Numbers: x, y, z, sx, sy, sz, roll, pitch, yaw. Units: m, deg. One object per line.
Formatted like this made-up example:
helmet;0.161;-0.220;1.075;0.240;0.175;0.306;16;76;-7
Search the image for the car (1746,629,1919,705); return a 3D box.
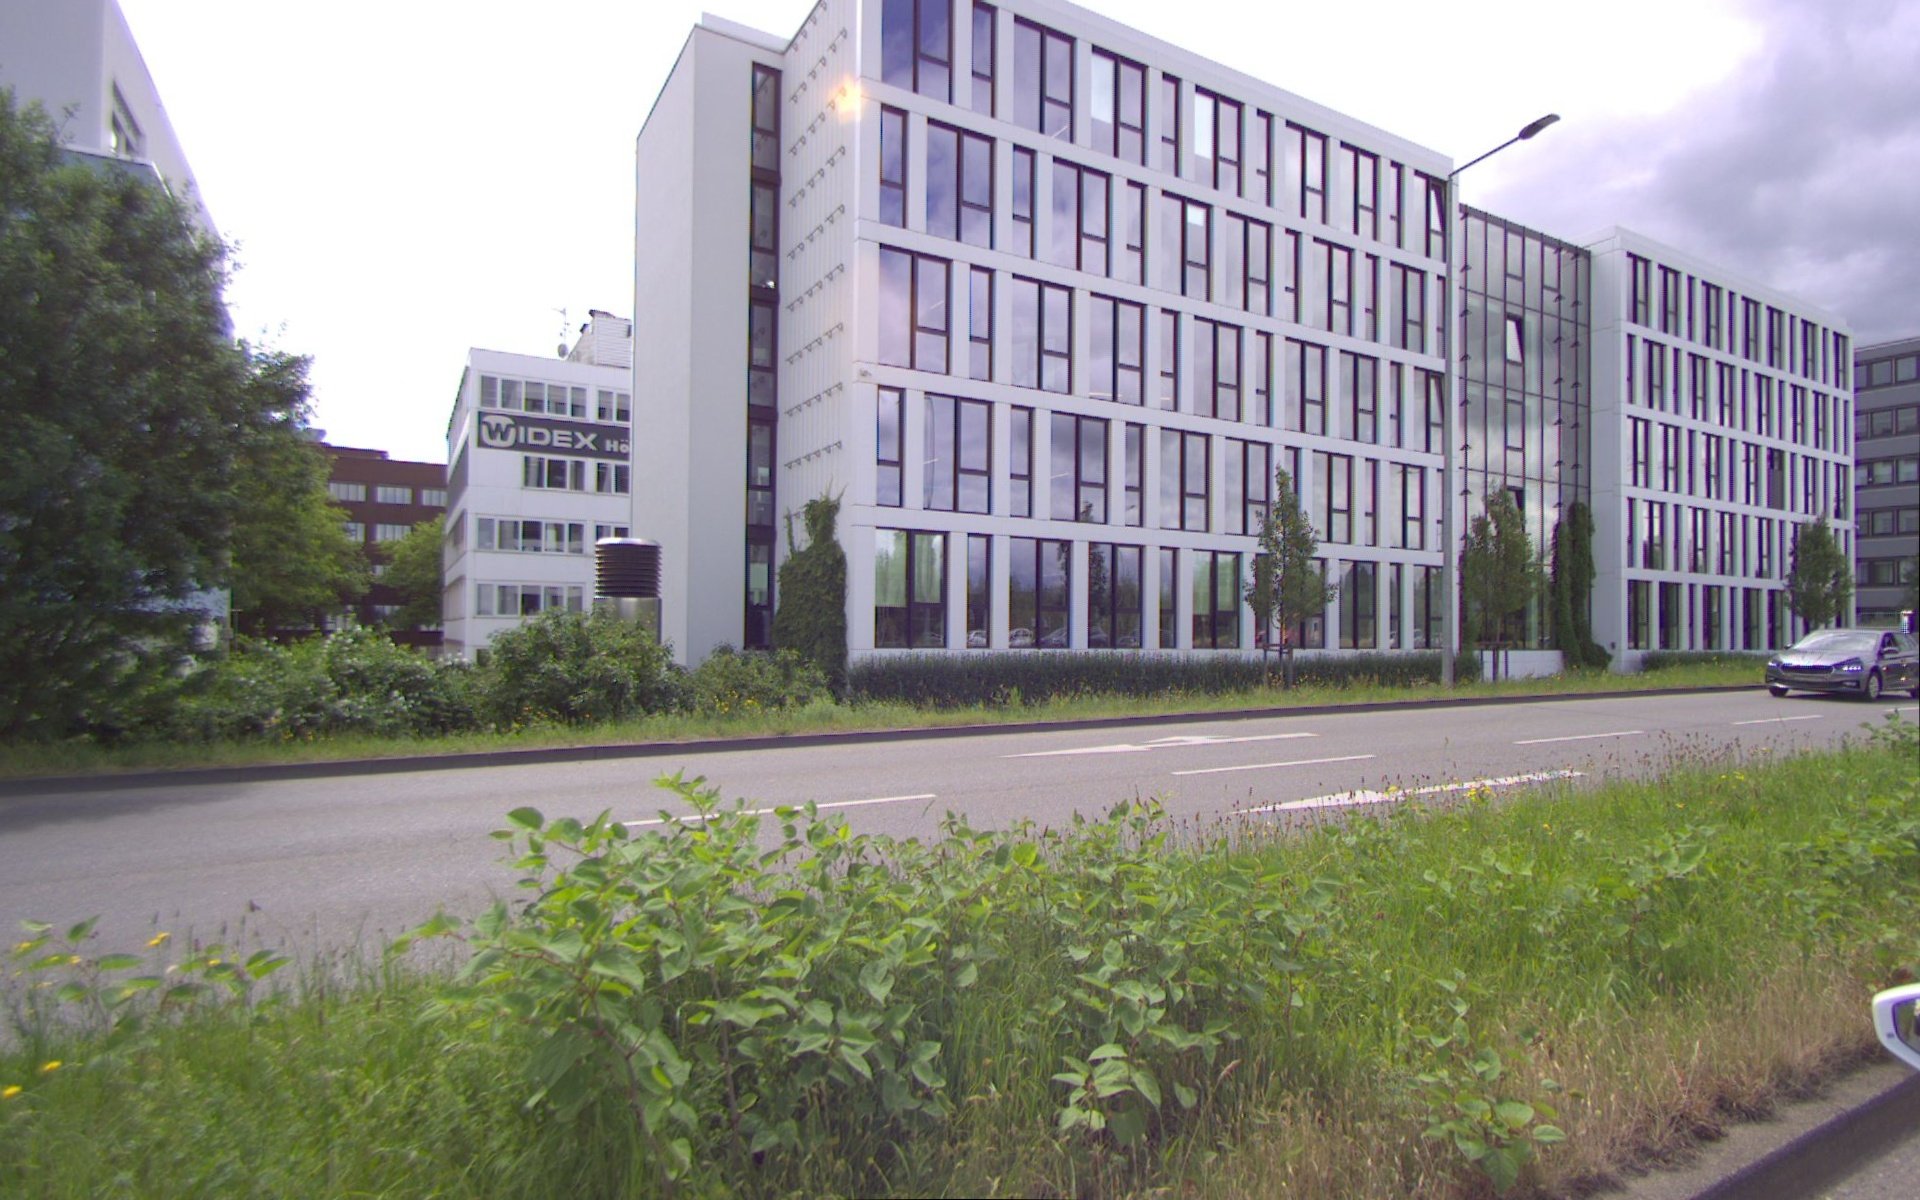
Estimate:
car;18.574;1.336;21.124;3.953;1.416;1.923;1;-1;-30
